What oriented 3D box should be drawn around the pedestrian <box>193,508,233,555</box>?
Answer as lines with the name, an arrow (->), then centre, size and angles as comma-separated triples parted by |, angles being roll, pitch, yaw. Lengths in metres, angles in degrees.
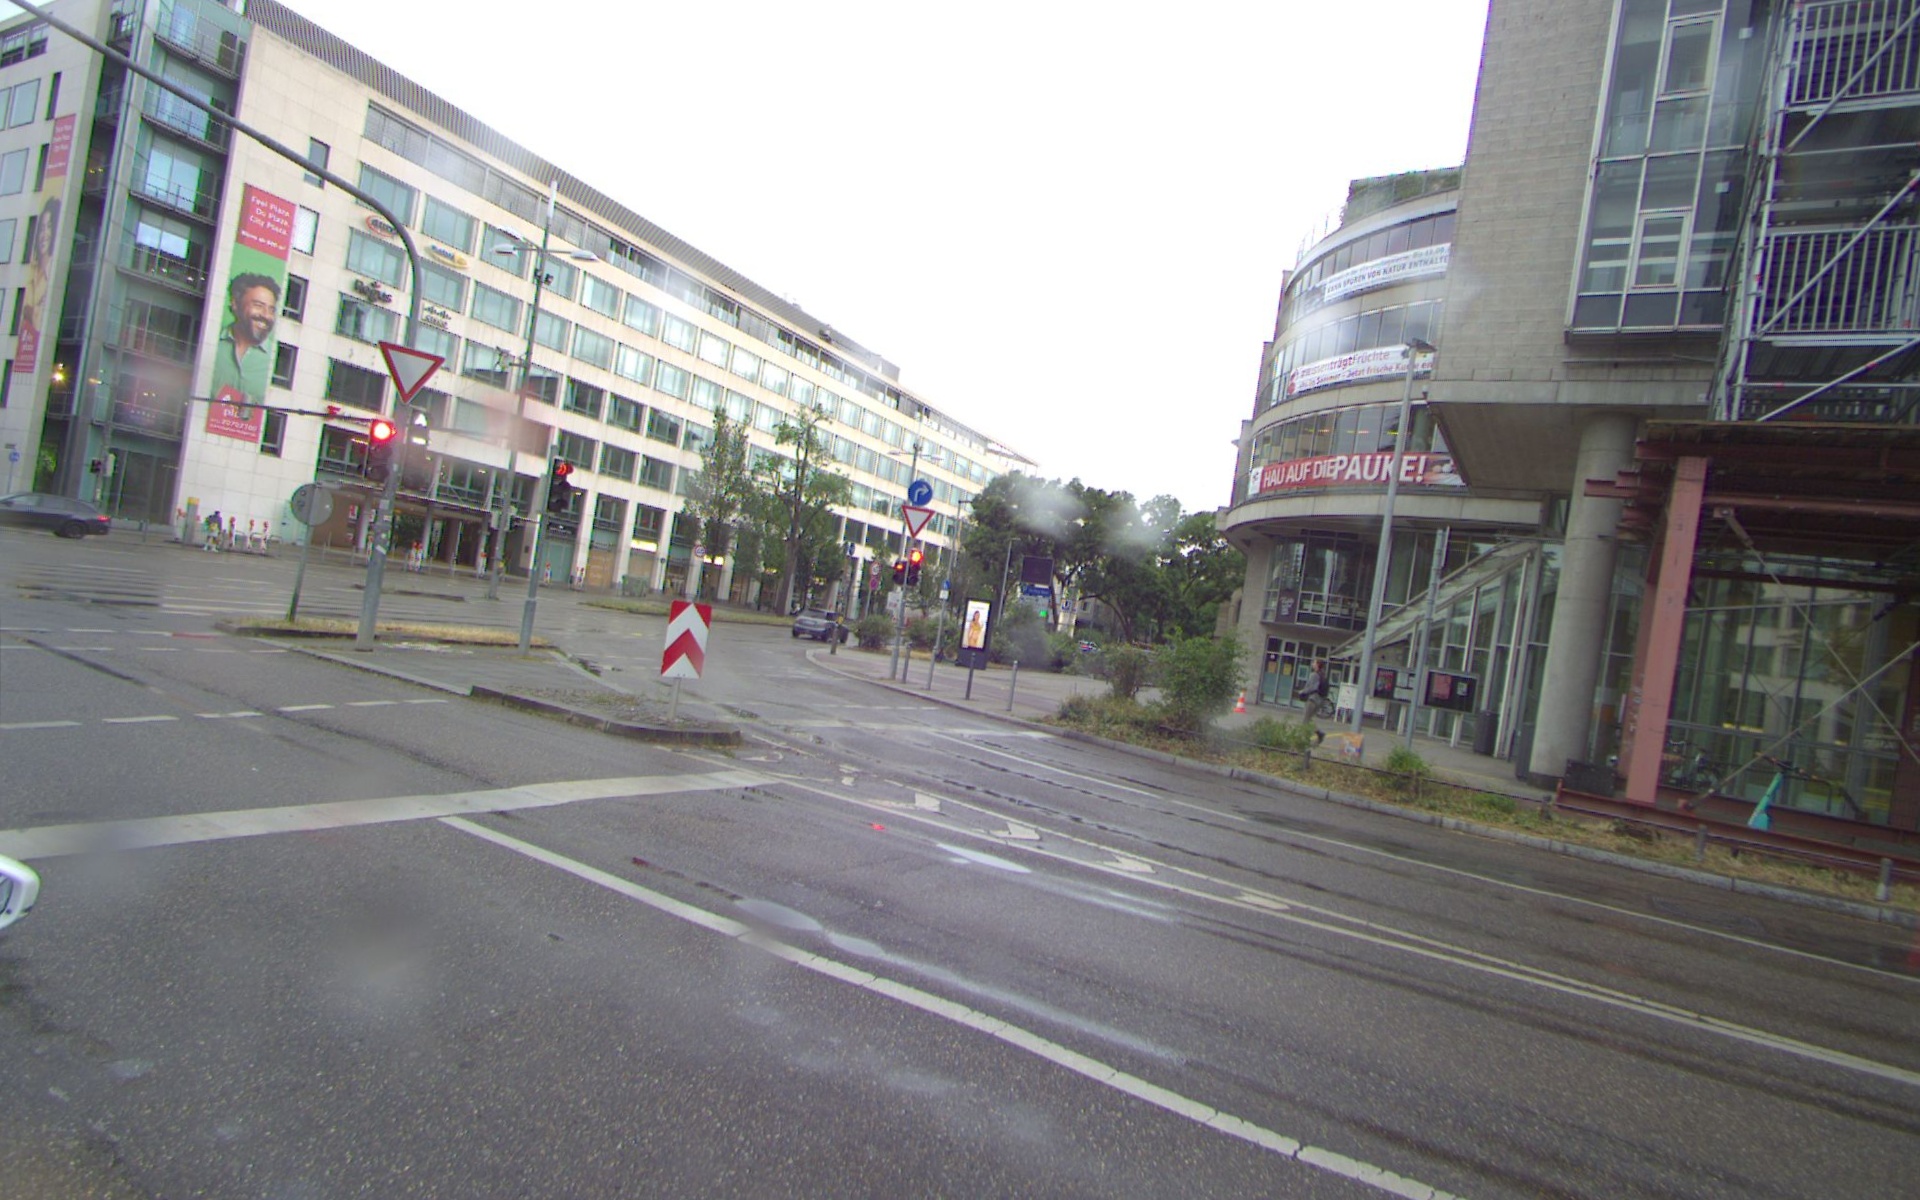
pedestrian -> -32.202, -2.965, 43.361 | 0.822, 1.838, 0.963 | 6, -1, 31

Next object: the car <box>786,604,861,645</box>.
car -> -6.179, 1.142, 45.906 | 1.713, 1.472, 3.724 | 7, -2, 21

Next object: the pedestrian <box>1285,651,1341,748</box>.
pedestrian -> 7.005, 1.963, 20.003 | 0.776, 1.796, 0.781 | 7, -1, 13

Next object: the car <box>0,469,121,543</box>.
car -> -32.919, -3.402, 35.547 | 1.526, 2.036, 4.655 | 6, -2, 38

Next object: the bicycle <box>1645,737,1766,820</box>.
bicycle -> 13.485, 3.227, 18.229 | 1.584, 1.208, 0.587 | 7, -1, 6

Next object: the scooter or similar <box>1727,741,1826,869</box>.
scooter or similar -> 9.222, 2.270, 11.418 | 0.577, 1.208, 1.780 | 7, -1, 34

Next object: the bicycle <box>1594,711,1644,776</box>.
bicycle -> 13.678, 2.965, 20.914 | 0.576, 1.208, 1.614 | 7, -2, 27

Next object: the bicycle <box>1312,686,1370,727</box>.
bicycle -> 13.453, 3.751, 35.531 | 1.753, 1.208, 0.586 | 6, -1, 29
